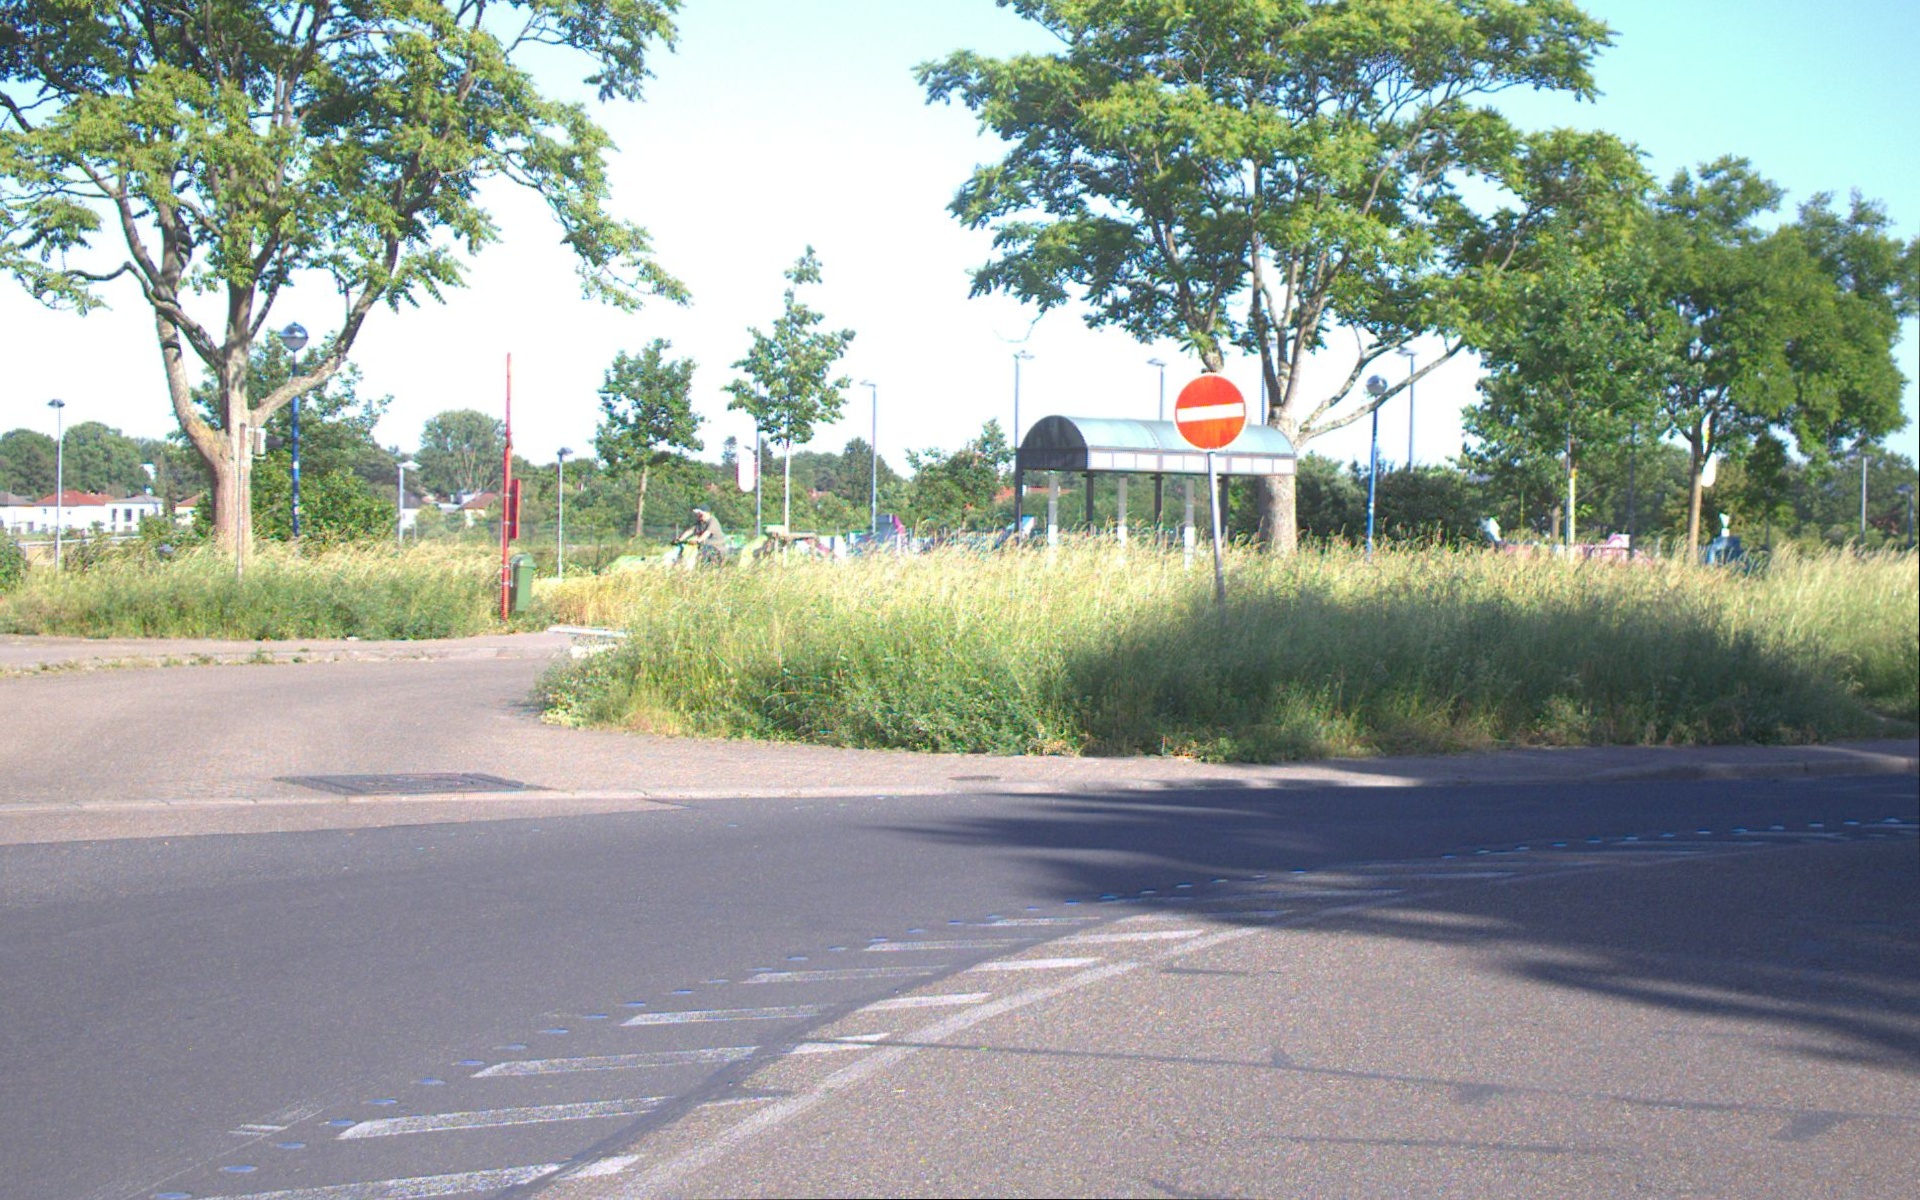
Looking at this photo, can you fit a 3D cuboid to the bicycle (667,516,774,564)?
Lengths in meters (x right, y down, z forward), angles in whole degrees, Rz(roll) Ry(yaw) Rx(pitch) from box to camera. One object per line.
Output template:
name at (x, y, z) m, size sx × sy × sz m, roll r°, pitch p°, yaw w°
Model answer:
bicycle at (-3.754, -0.936, 53.997) m, size 1.572 × 0.702 × 0.654 m, roll 1°, pitch 1°, yaw -39°

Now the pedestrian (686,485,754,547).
pedestrian at (-3.765, -1.320, 53.936) m, size 0.798 × 0.937 × 0.703 m, roll 1°, pitch 1°, yaw -39°
